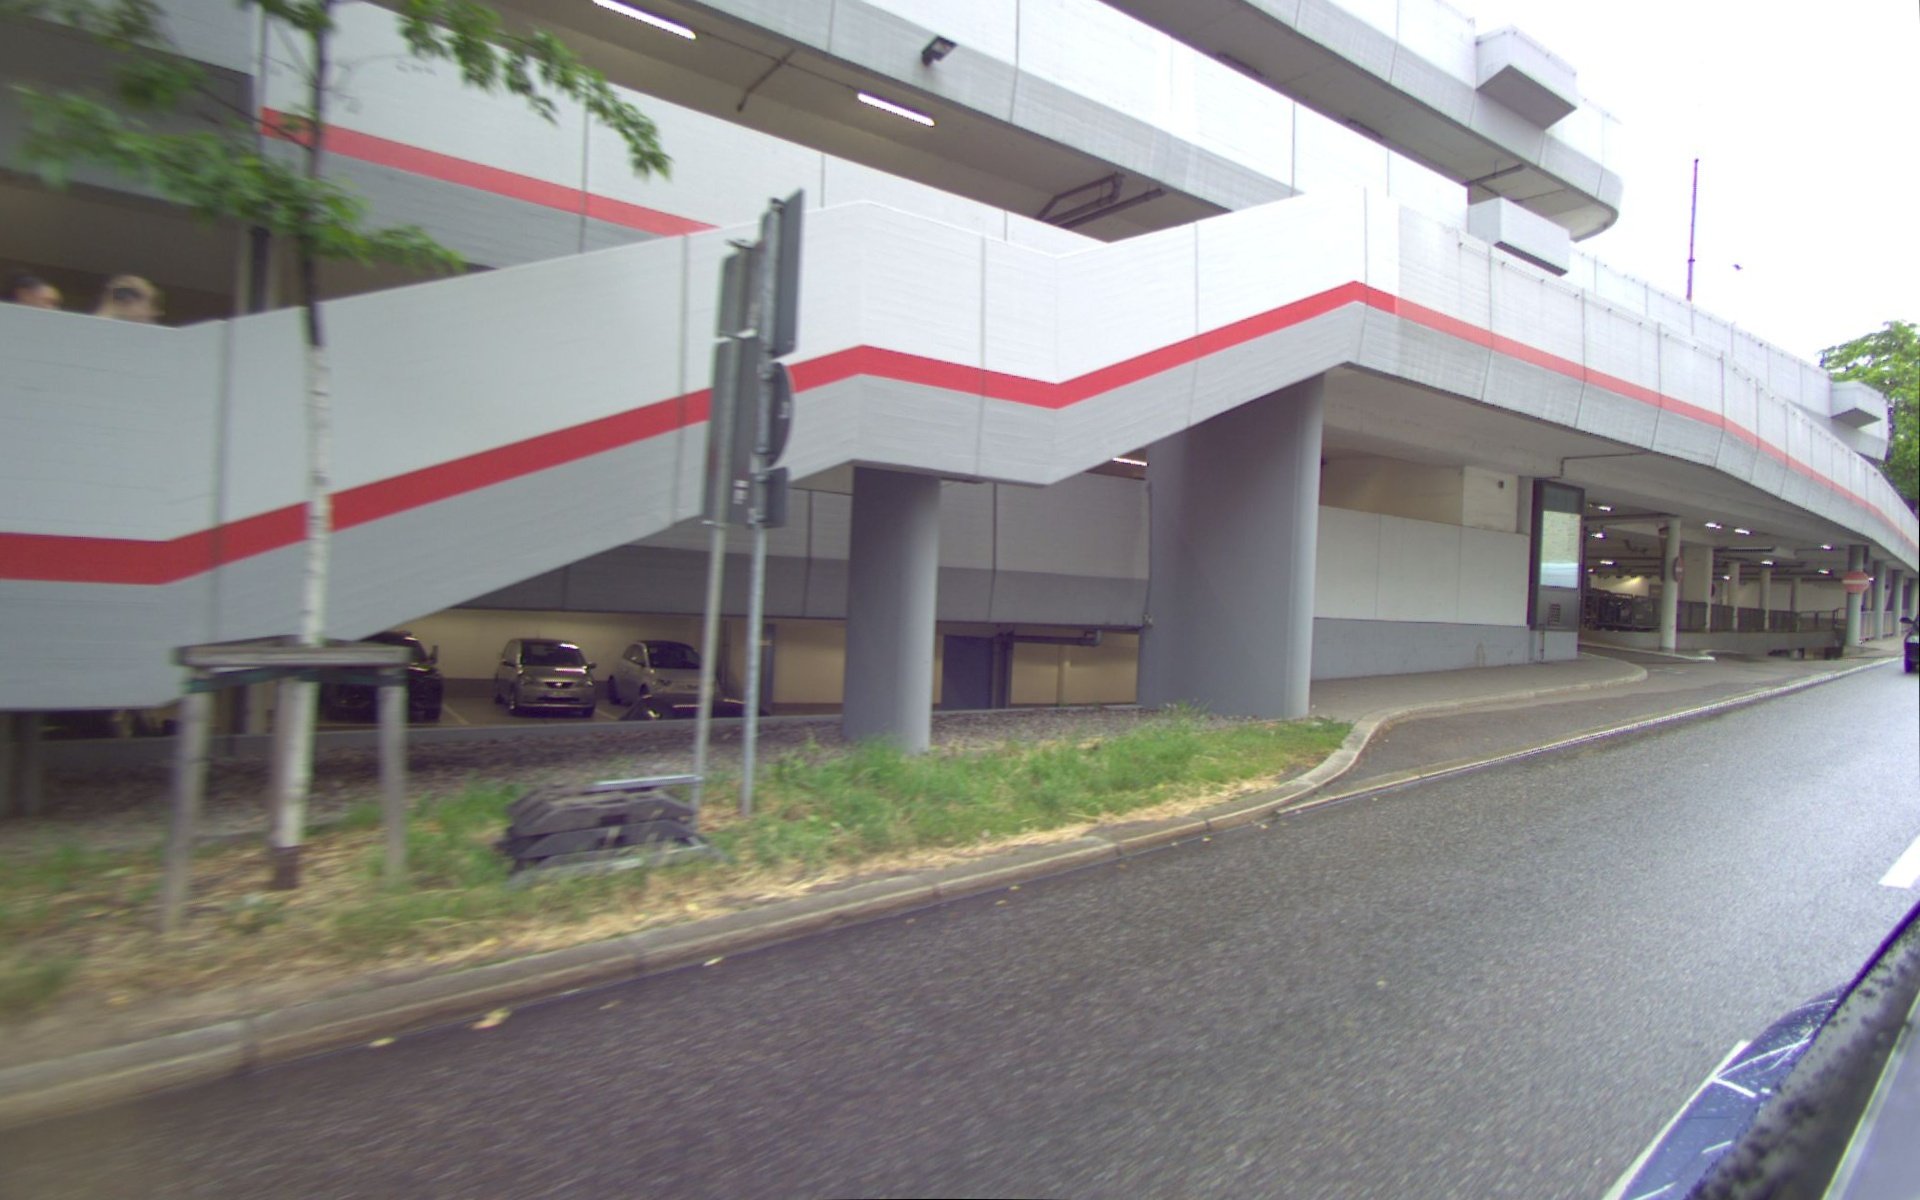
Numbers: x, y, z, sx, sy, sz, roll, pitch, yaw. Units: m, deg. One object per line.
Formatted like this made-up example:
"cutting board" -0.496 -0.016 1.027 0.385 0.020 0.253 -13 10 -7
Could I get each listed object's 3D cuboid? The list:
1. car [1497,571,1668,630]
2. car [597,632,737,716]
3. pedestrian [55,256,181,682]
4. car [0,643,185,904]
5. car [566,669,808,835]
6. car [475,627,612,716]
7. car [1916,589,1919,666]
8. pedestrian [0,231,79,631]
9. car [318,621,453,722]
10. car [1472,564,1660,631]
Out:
"car" 20.091 0.001 32.850 1.960 1.682 4.261 5 -2 -31
"car" -6.757 1.632 23.050 1.803 1.560 4.001 4 -2 -35
"pedestrian" -4.585 -0.677 5.536 0.484 2.181 0.515 0 1 -36
"car" -8.057 1.328 8.895 1.803 1.644 4.000 0 1 -35
"car" -3.754 1.855 13.435 1.803 1.560 3.943 4 -2 -35
"car" -8.935 1.467 21.513 1.803 1.560 4.001 4 -2 -35
"car" 21.207 0.578 20.945 3.919 1.545 1.682 1 -1 -41
"pedestrian" -5.310 -0.927 5.739 0.426 2.181 0.422 0 1 -36
"car" -10.996 1.300 19.251 1.803 1.560 4.001 4 -2 -35
"car" 17.614 -0.090 29.604 1.960 1.682 4.261 5 -2 -31
